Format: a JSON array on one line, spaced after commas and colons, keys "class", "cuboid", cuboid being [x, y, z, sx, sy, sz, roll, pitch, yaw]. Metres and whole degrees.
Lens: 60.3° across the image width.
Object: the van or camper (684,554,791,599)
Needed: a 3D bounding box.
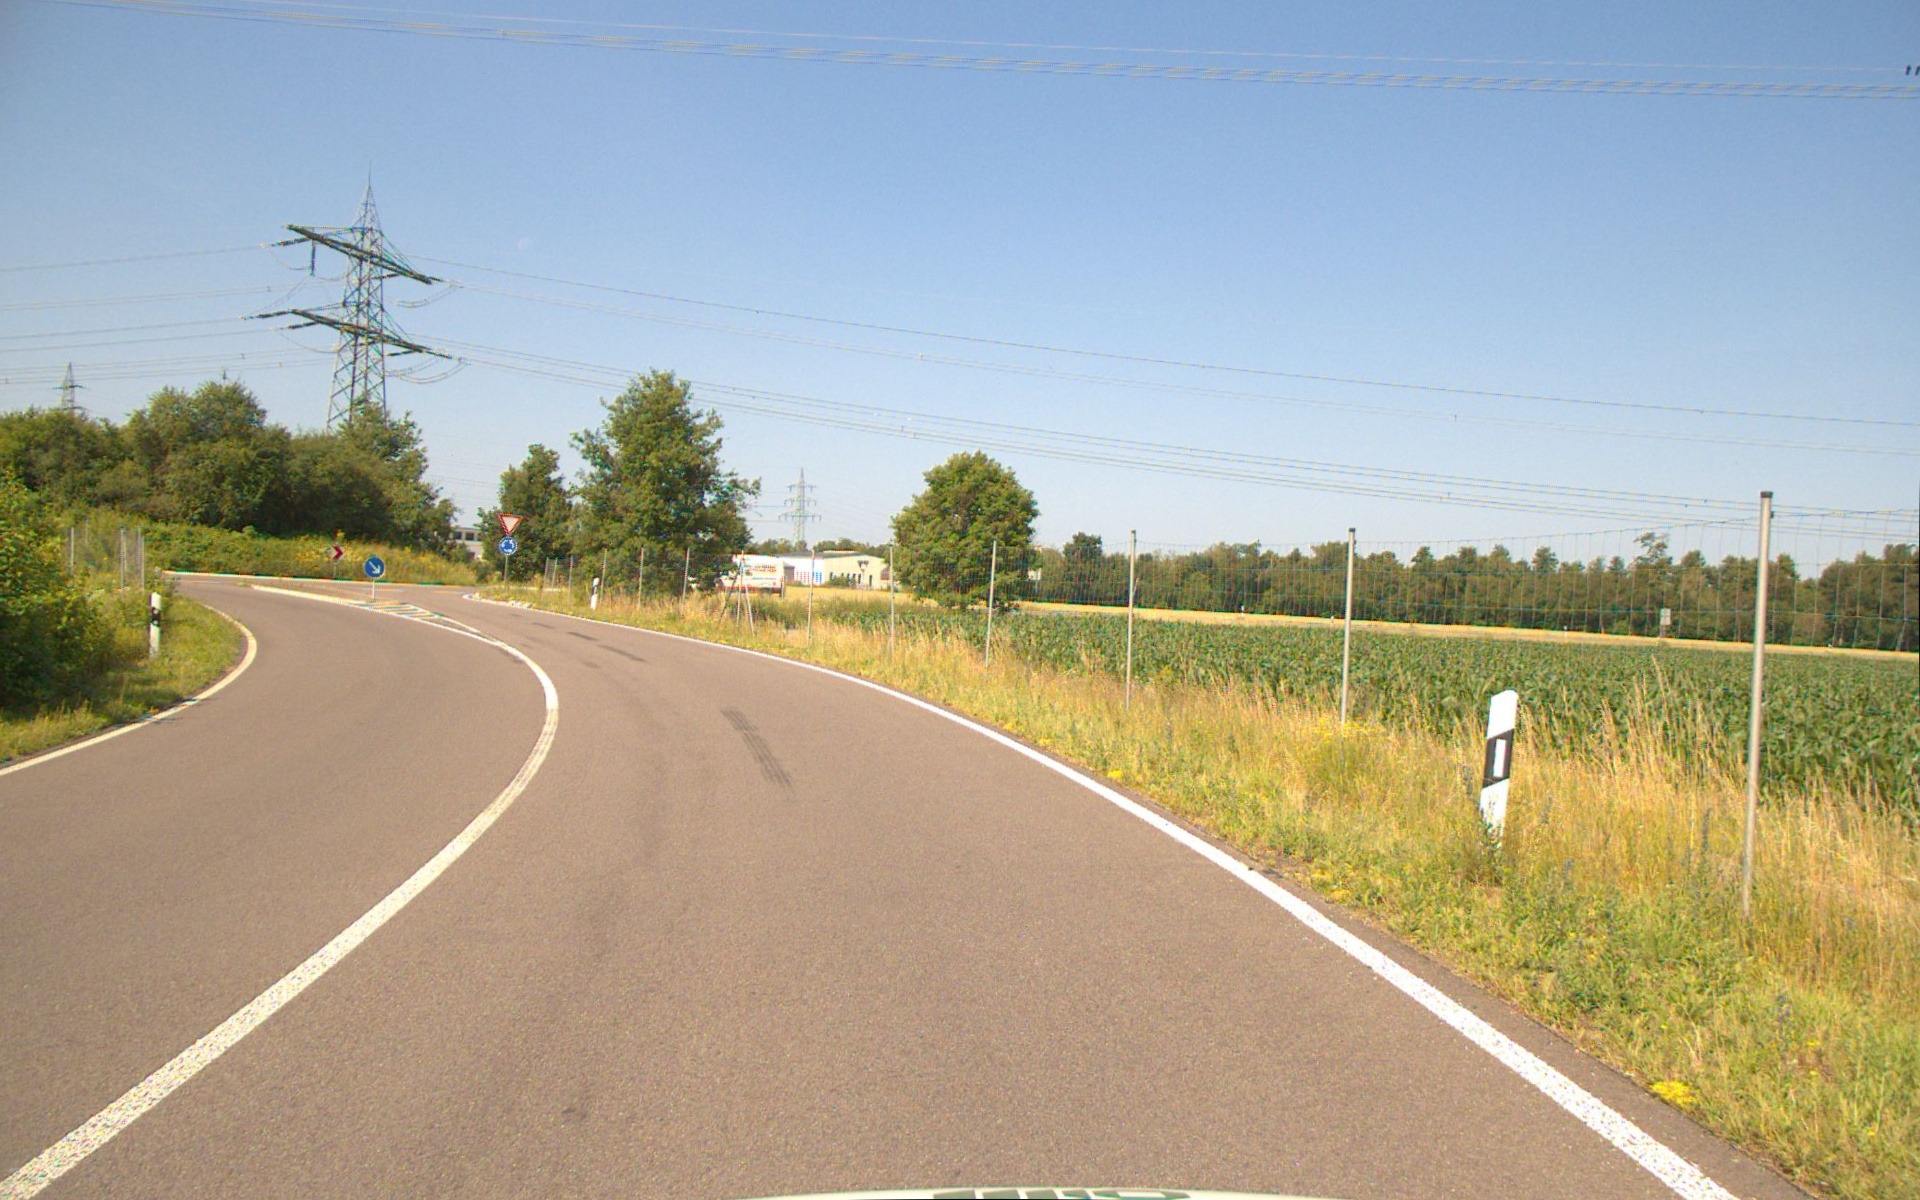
[{"class": "van or camper", "cuboid": [-12.670, -1.347, 94.420, 5.694, 2.306, 1.978, 3, 0, -32]}]
